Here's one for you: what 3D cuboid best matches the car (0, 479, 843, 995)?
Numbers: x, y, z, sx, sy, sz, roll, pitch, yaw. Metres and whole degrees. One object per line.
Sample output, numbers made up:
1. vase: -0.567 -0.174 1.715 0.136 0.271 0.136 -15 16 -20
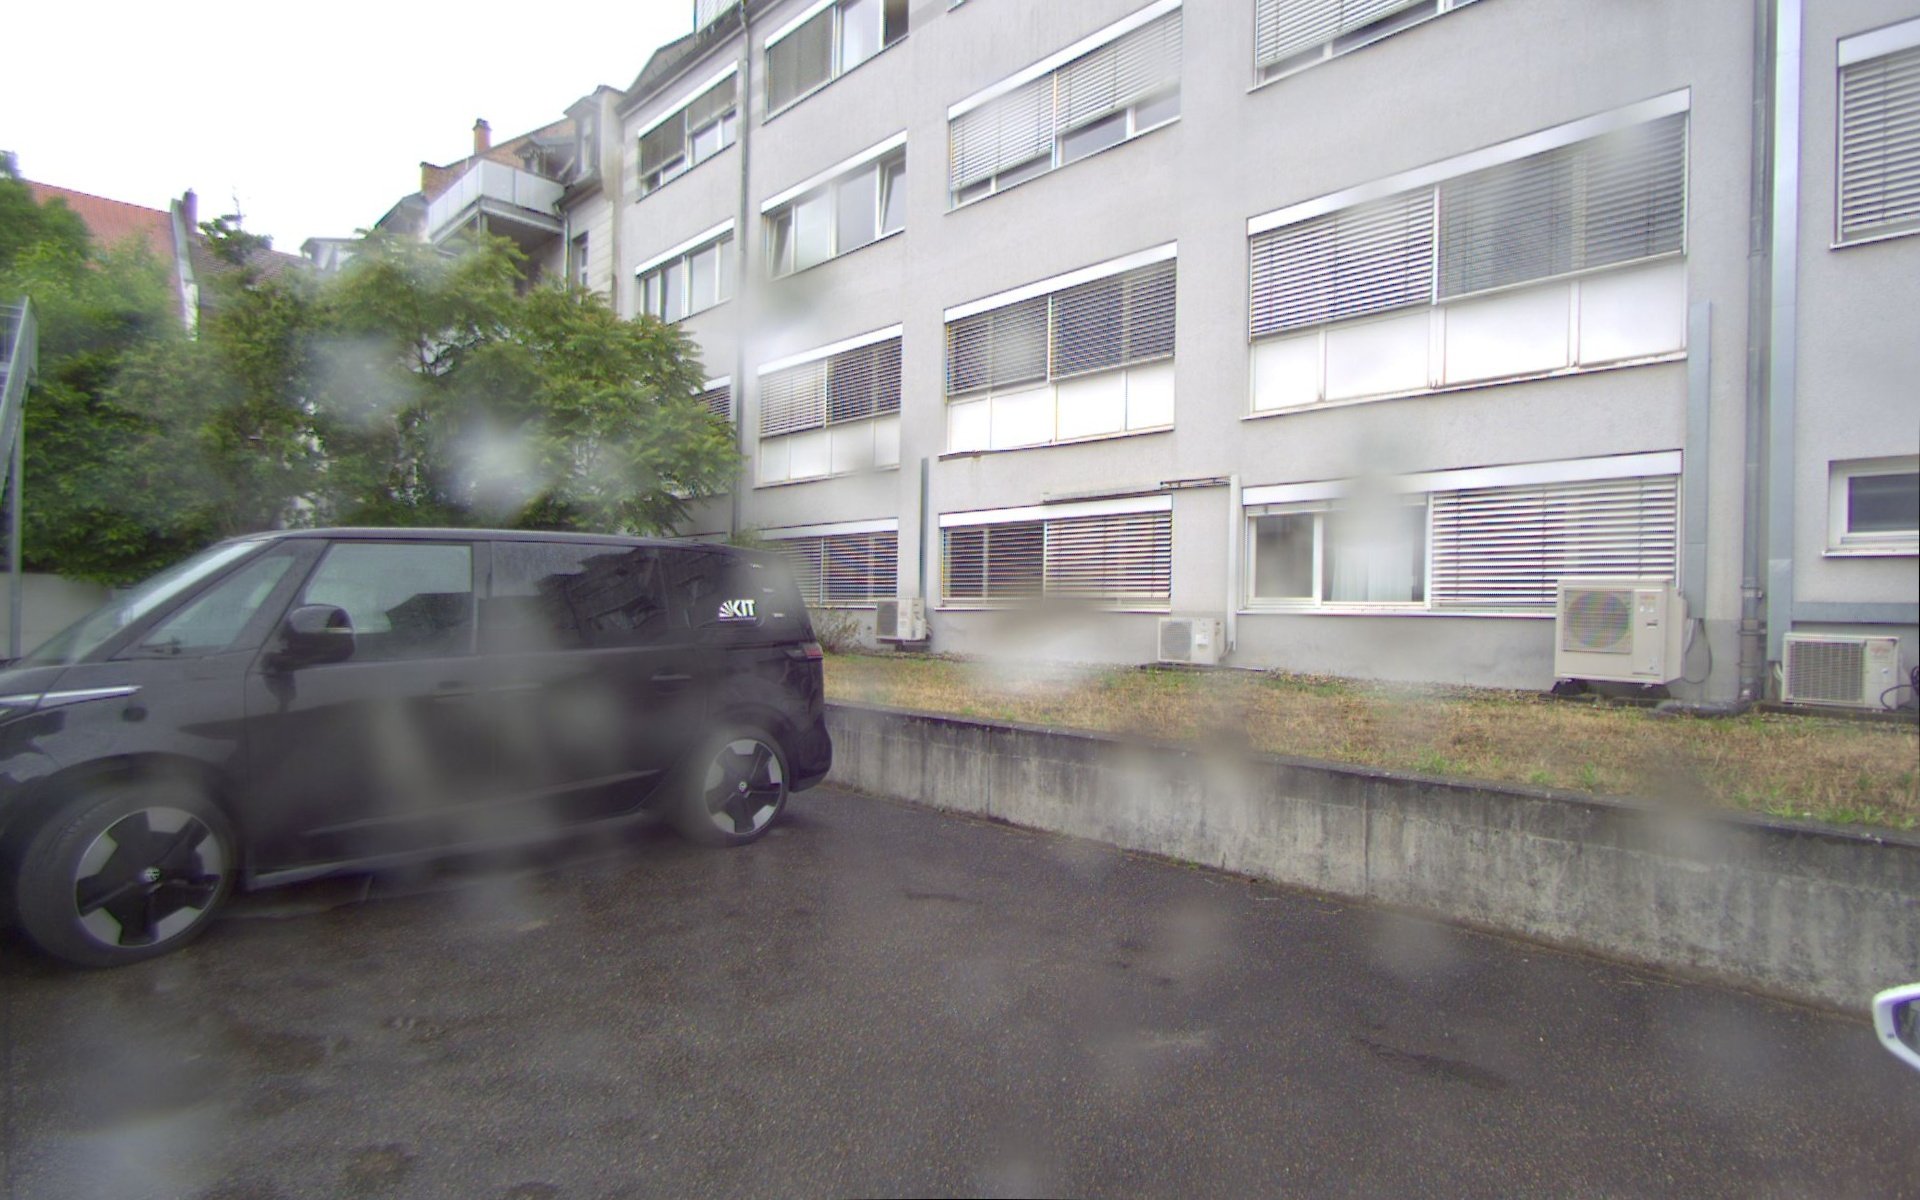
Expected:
1. car: -3.050 0.558 5.778 2.018 1.922 4.496 -1 -2 43
